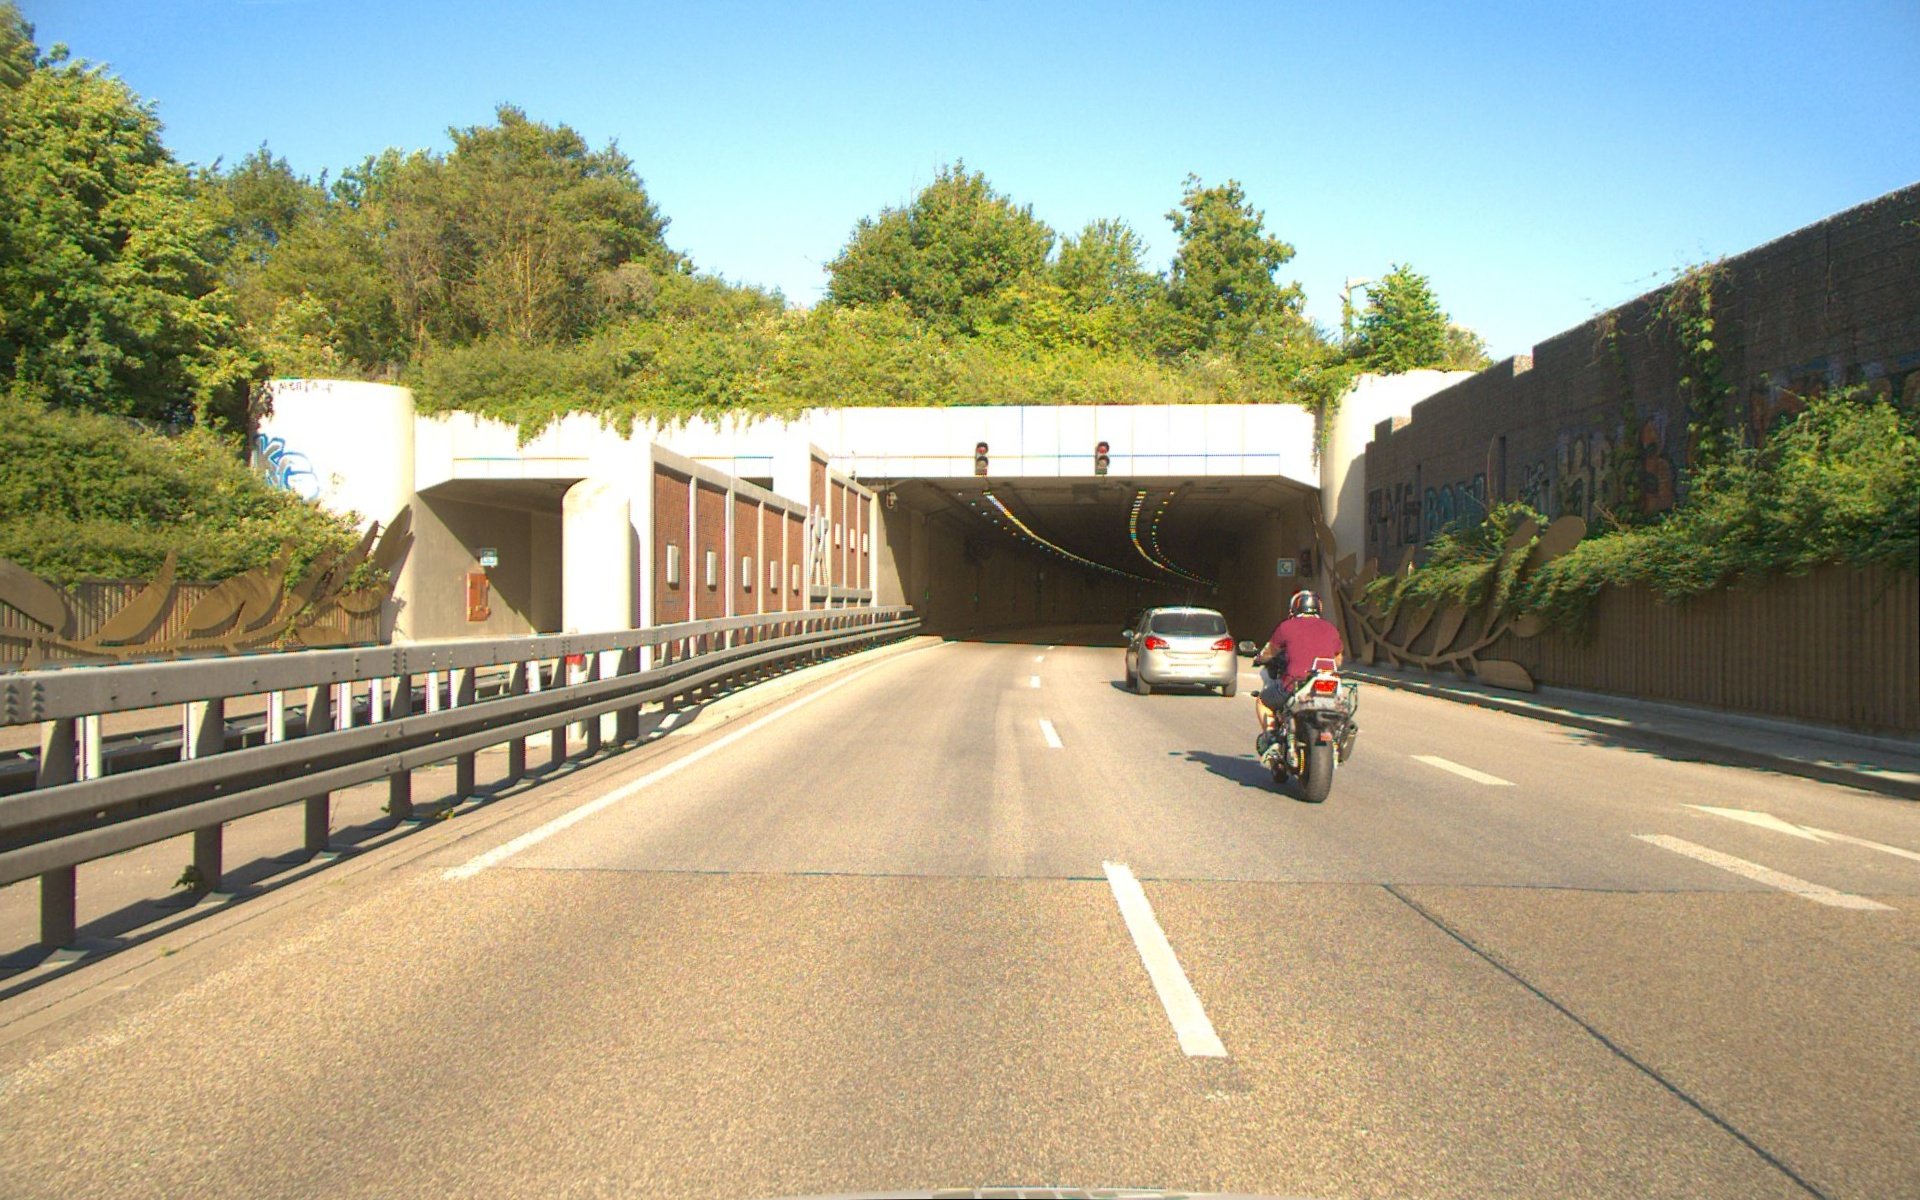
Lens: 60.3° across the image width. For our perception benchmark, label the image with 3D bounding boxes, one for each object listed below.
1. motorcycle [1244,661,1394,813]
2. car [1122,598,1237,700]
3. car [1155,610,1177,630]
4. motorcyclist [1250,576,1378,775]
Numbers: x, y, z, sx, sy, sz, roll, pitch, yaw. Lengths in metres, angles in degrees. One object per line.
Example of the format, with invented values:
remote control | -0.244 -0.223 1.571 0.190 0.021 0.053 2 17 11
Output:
motorcycle | 2.863 1.055 13.482 0.840 1.009 2.730 2 0 5
car | 3.788 0.800 29.082 1.632 1.579 4.002 2 1 3
car | 21.059 1.992 168.933 1.951 1.959 4.004 1 0 12
motorcyclist | 2.863 0.587 13.498 0.864 1.527 1.064 2 0 6
